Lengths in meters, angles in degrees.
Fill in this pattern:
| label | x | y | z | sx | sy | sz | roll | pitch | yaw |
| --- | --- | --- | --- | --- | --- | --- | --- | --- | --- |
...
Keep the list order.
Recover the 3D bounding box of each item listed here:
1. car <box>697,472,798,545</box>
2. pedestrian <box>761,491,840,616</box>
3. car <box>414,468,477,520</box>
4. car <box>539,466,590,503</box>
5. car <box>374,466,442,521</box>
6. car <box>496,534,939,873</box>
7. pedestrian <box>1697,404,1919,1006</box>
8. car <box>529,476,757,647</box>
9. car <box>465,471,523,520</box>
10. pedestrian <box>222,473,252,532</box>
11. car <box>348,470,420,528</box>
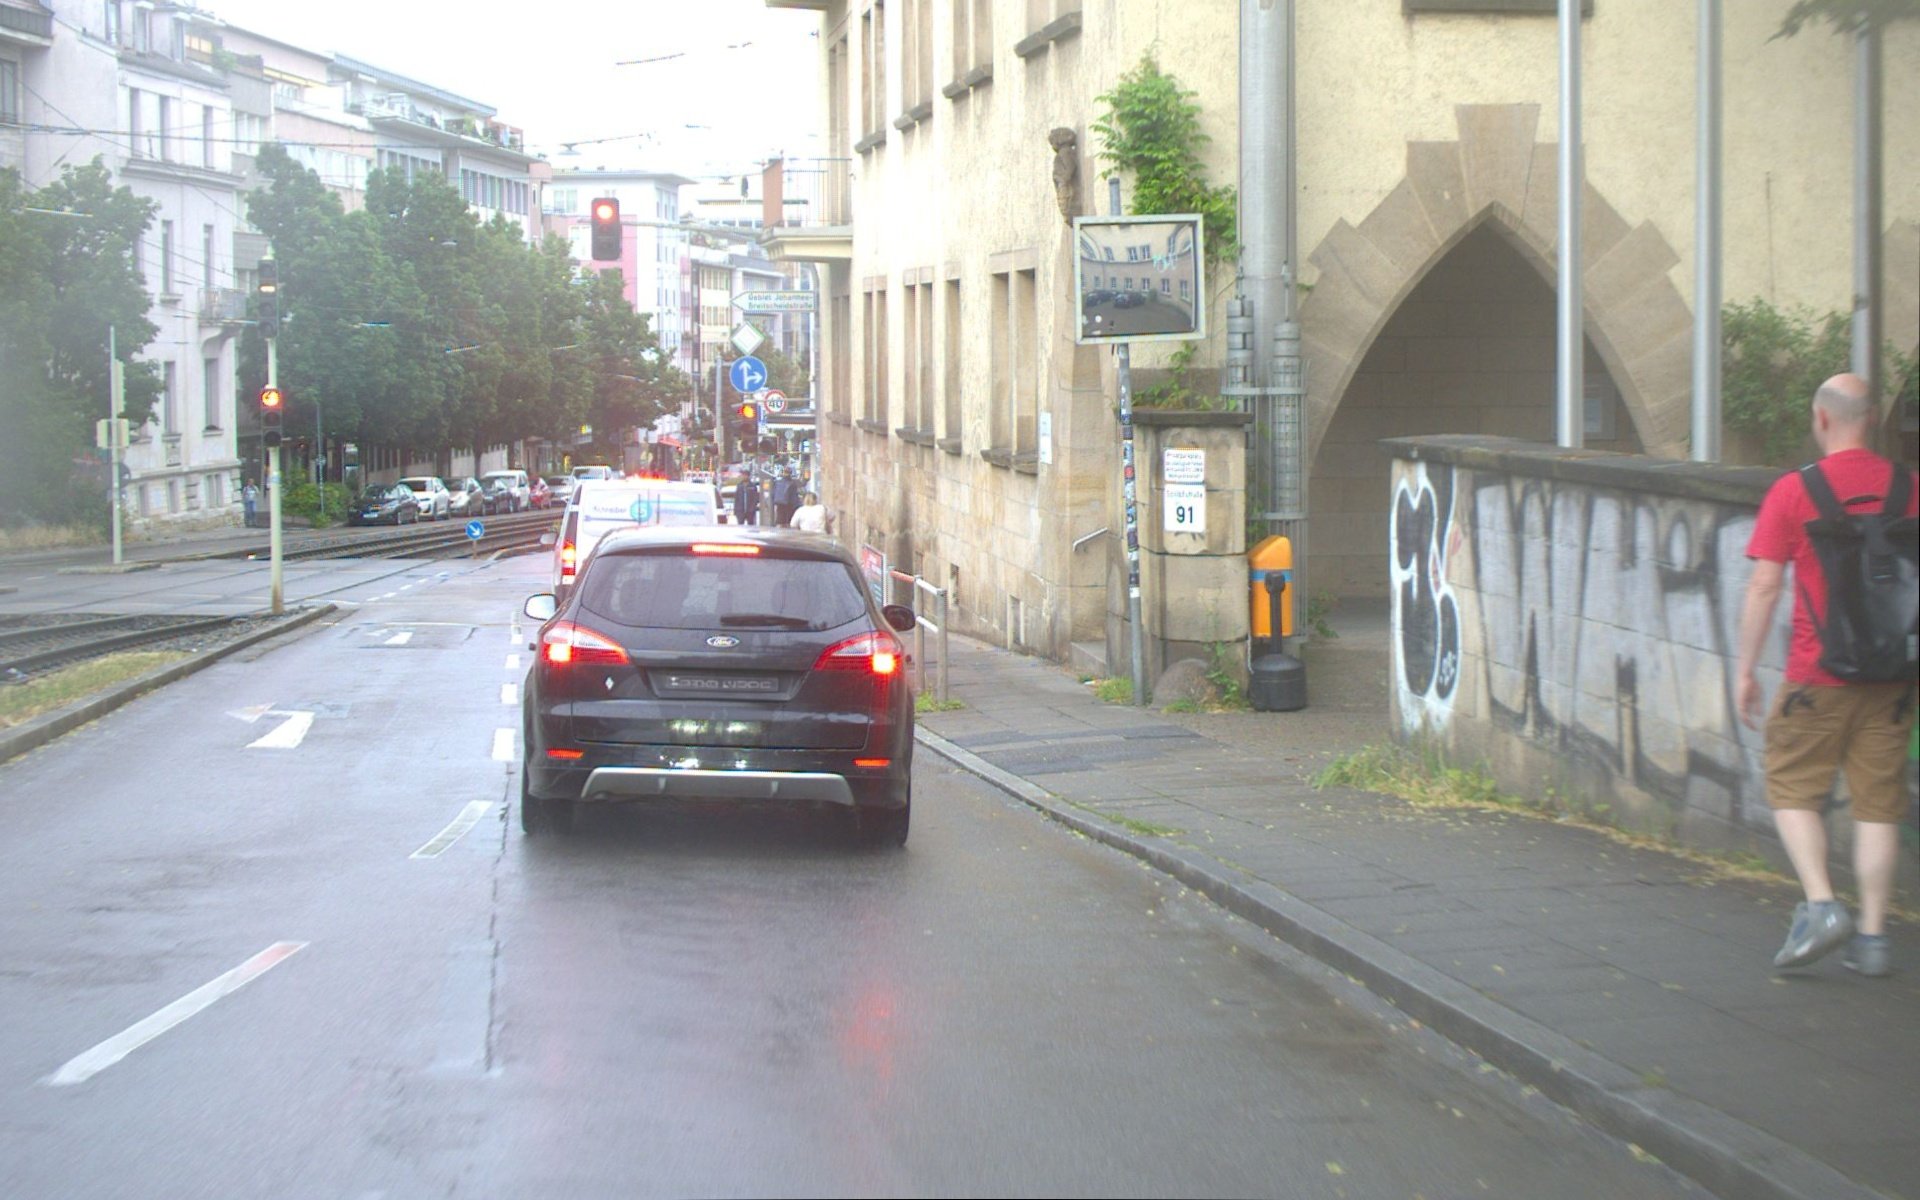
| label | x | y | z | sx | sy | sz | roll | pitch | yaw |
| --- | --- | --- | --- | --- | --- | --- | --- | --- | --- |
| car | -5.281 | -2.289 | 85.934 | 1.994 | 1.766 | 4.000 | 0 | 2 | 4 |
| pedestrian | -2.321 | -0.688 | 49.954 | 1.044 | 1.789 | 0.902 | -1 | 2 | -8 |
| car | -20.213 | -4.184 | 135.141 | 1.993 | 2.006 | 4.001 | -1 | 2 | -2 |
| car | -18.289 | -5.338 | 159.010 | 1.993 | 1.656 | 4.001 | -1 | 2 | -2 |
| car | -20.587 | -3.974 | 128.239 | 1.993 | 2.006 | 4.001 | -1 | 2 | -2 |
| car | -1.259 | 0.420 | 17.034 | 1.920 | 1.474 | 4.001 | 1 | 1 | -6 |
| pedestrian | 2.619 | 0.290 | 10.210 | 0.632 | 1.715 | 0.711 | -1 | 1 | -5 |
| car | -3.573 | -0.481 | 38.091 | 2.136 | 1.739 | 4.220 | -2 | 2 | -10 |
| car | -19.757 | -4.436 | 145.841 | 1.993 | 2.006 | 4.001 | -1 | 2 | -2 |
| pedestrian | -24.692 | -3.323 | 117.417 | 0.941 | 2.006 | 0.765 | -1 | 2 | -16 |
| car | -20.449 | -3.591 | 122.174 | 1.993 | 2.006 | 4.001 | -1 | 2 | -2 |
